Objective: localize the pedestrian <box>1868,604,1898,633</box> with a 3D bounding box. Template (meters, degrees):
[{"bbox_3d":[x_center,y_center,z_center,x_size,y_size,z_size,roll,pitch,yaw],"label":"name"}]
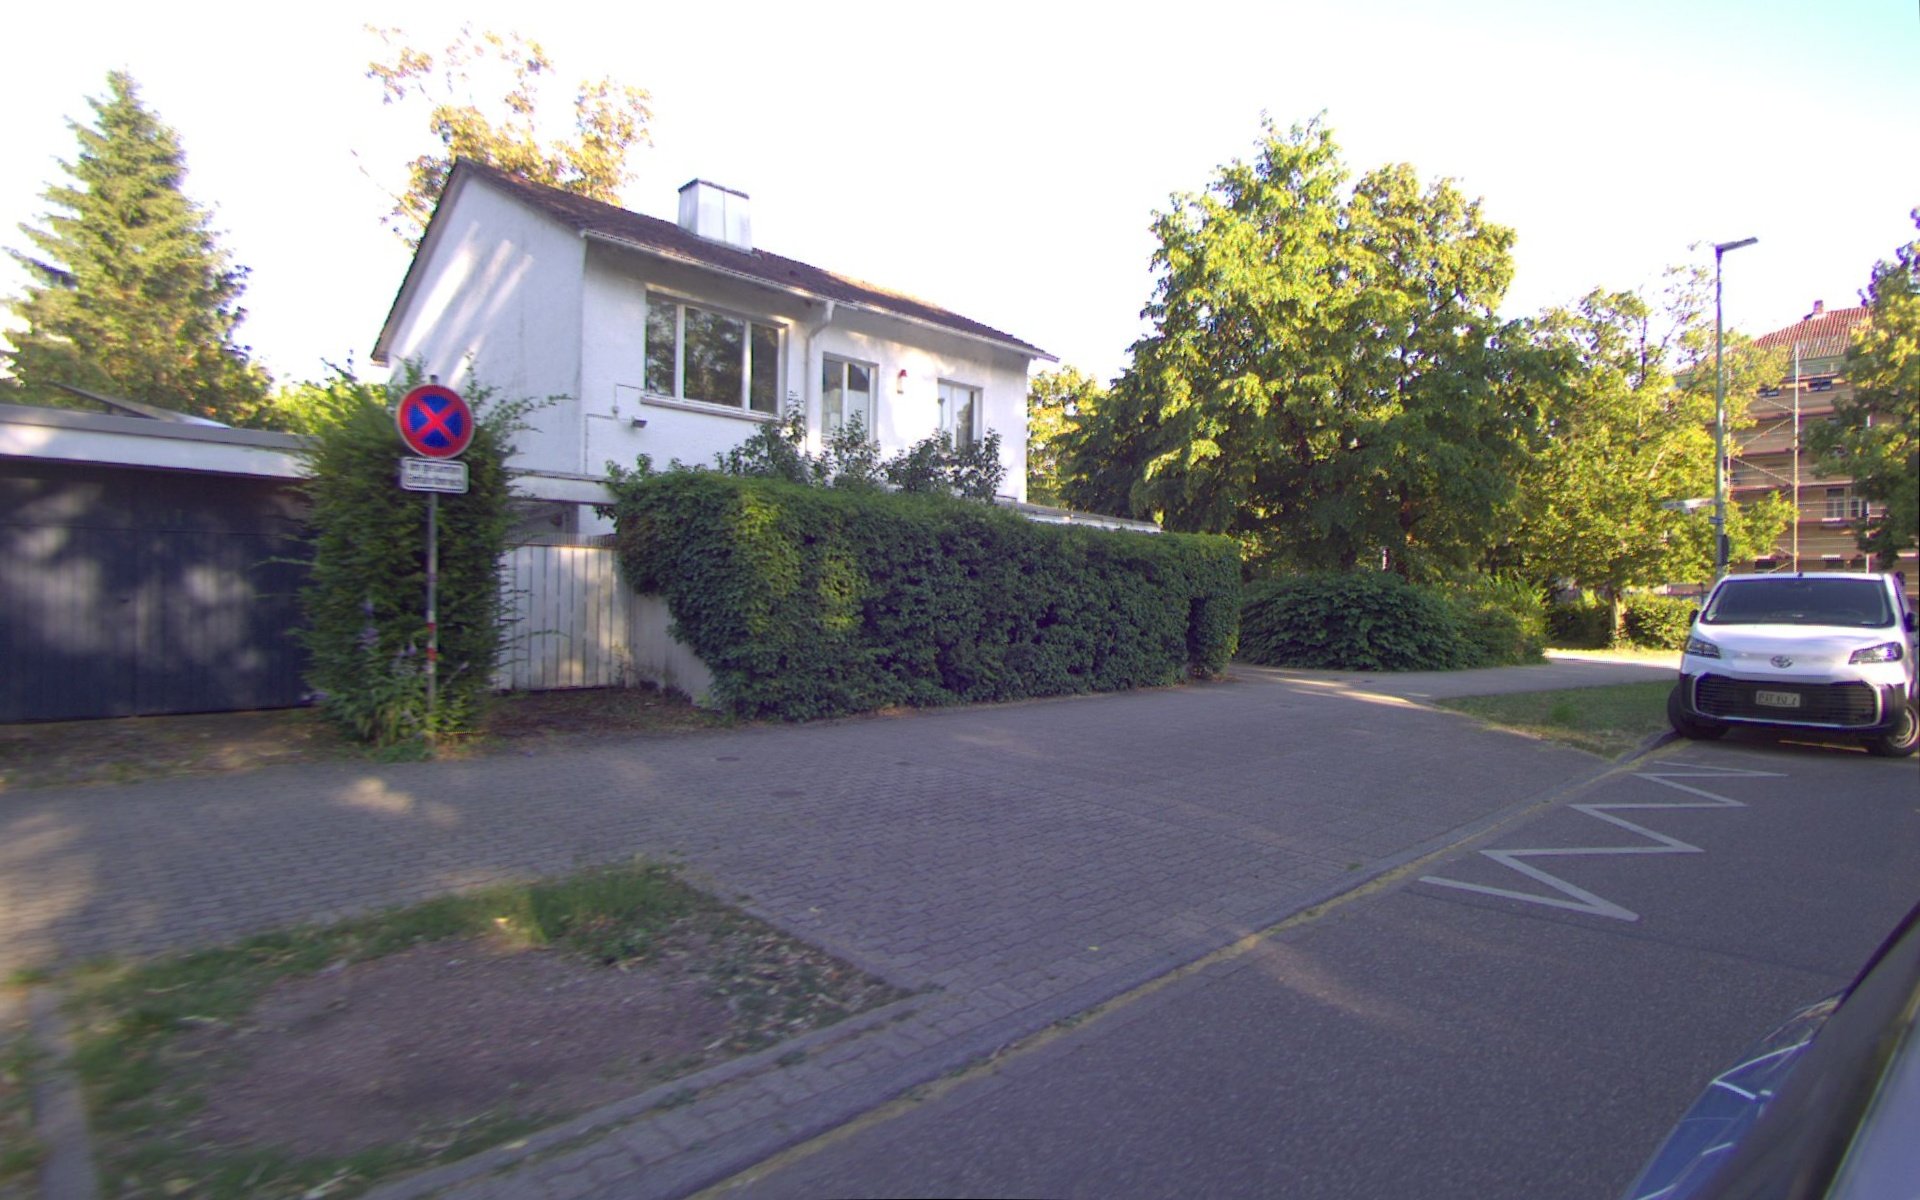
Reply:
[{"bbox_3d":[38.546,0.760,42.268,0.544,1.210,0.881,1,0,9],"label":"pedestrian"}]

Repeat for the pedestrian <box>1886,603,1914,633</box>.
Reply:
[{"bbox_3d":[39.103,0.745,42.103,0.544,1.248,0.723,1,0,9],"label":"pedestrian"}]

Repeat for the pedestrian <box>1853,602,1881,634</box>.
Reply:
[{"bbox_3d":[37.726,0.742,42.100,0.544,1.314,0.764,1,0,9],"label":"pedestrian"}]

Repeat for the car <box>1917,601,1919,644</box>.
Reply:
[{"bbox_3d":[33.640,0.809,32.254,1.750,1.433,4.502,3,0,-5],"label":"car"}]

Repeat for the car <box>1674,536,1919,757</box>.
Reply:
[{"bbox_3d":[9.977,0.424,11.801,1.953,2.039,5.071,0,0,44],"label":"car"}]

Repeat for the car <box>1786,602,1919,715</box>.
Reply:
[{"bbox_3d":[14.081,0.787,15.539,1.765,1.486,4.787,0,0,44],"label":"car"}]
